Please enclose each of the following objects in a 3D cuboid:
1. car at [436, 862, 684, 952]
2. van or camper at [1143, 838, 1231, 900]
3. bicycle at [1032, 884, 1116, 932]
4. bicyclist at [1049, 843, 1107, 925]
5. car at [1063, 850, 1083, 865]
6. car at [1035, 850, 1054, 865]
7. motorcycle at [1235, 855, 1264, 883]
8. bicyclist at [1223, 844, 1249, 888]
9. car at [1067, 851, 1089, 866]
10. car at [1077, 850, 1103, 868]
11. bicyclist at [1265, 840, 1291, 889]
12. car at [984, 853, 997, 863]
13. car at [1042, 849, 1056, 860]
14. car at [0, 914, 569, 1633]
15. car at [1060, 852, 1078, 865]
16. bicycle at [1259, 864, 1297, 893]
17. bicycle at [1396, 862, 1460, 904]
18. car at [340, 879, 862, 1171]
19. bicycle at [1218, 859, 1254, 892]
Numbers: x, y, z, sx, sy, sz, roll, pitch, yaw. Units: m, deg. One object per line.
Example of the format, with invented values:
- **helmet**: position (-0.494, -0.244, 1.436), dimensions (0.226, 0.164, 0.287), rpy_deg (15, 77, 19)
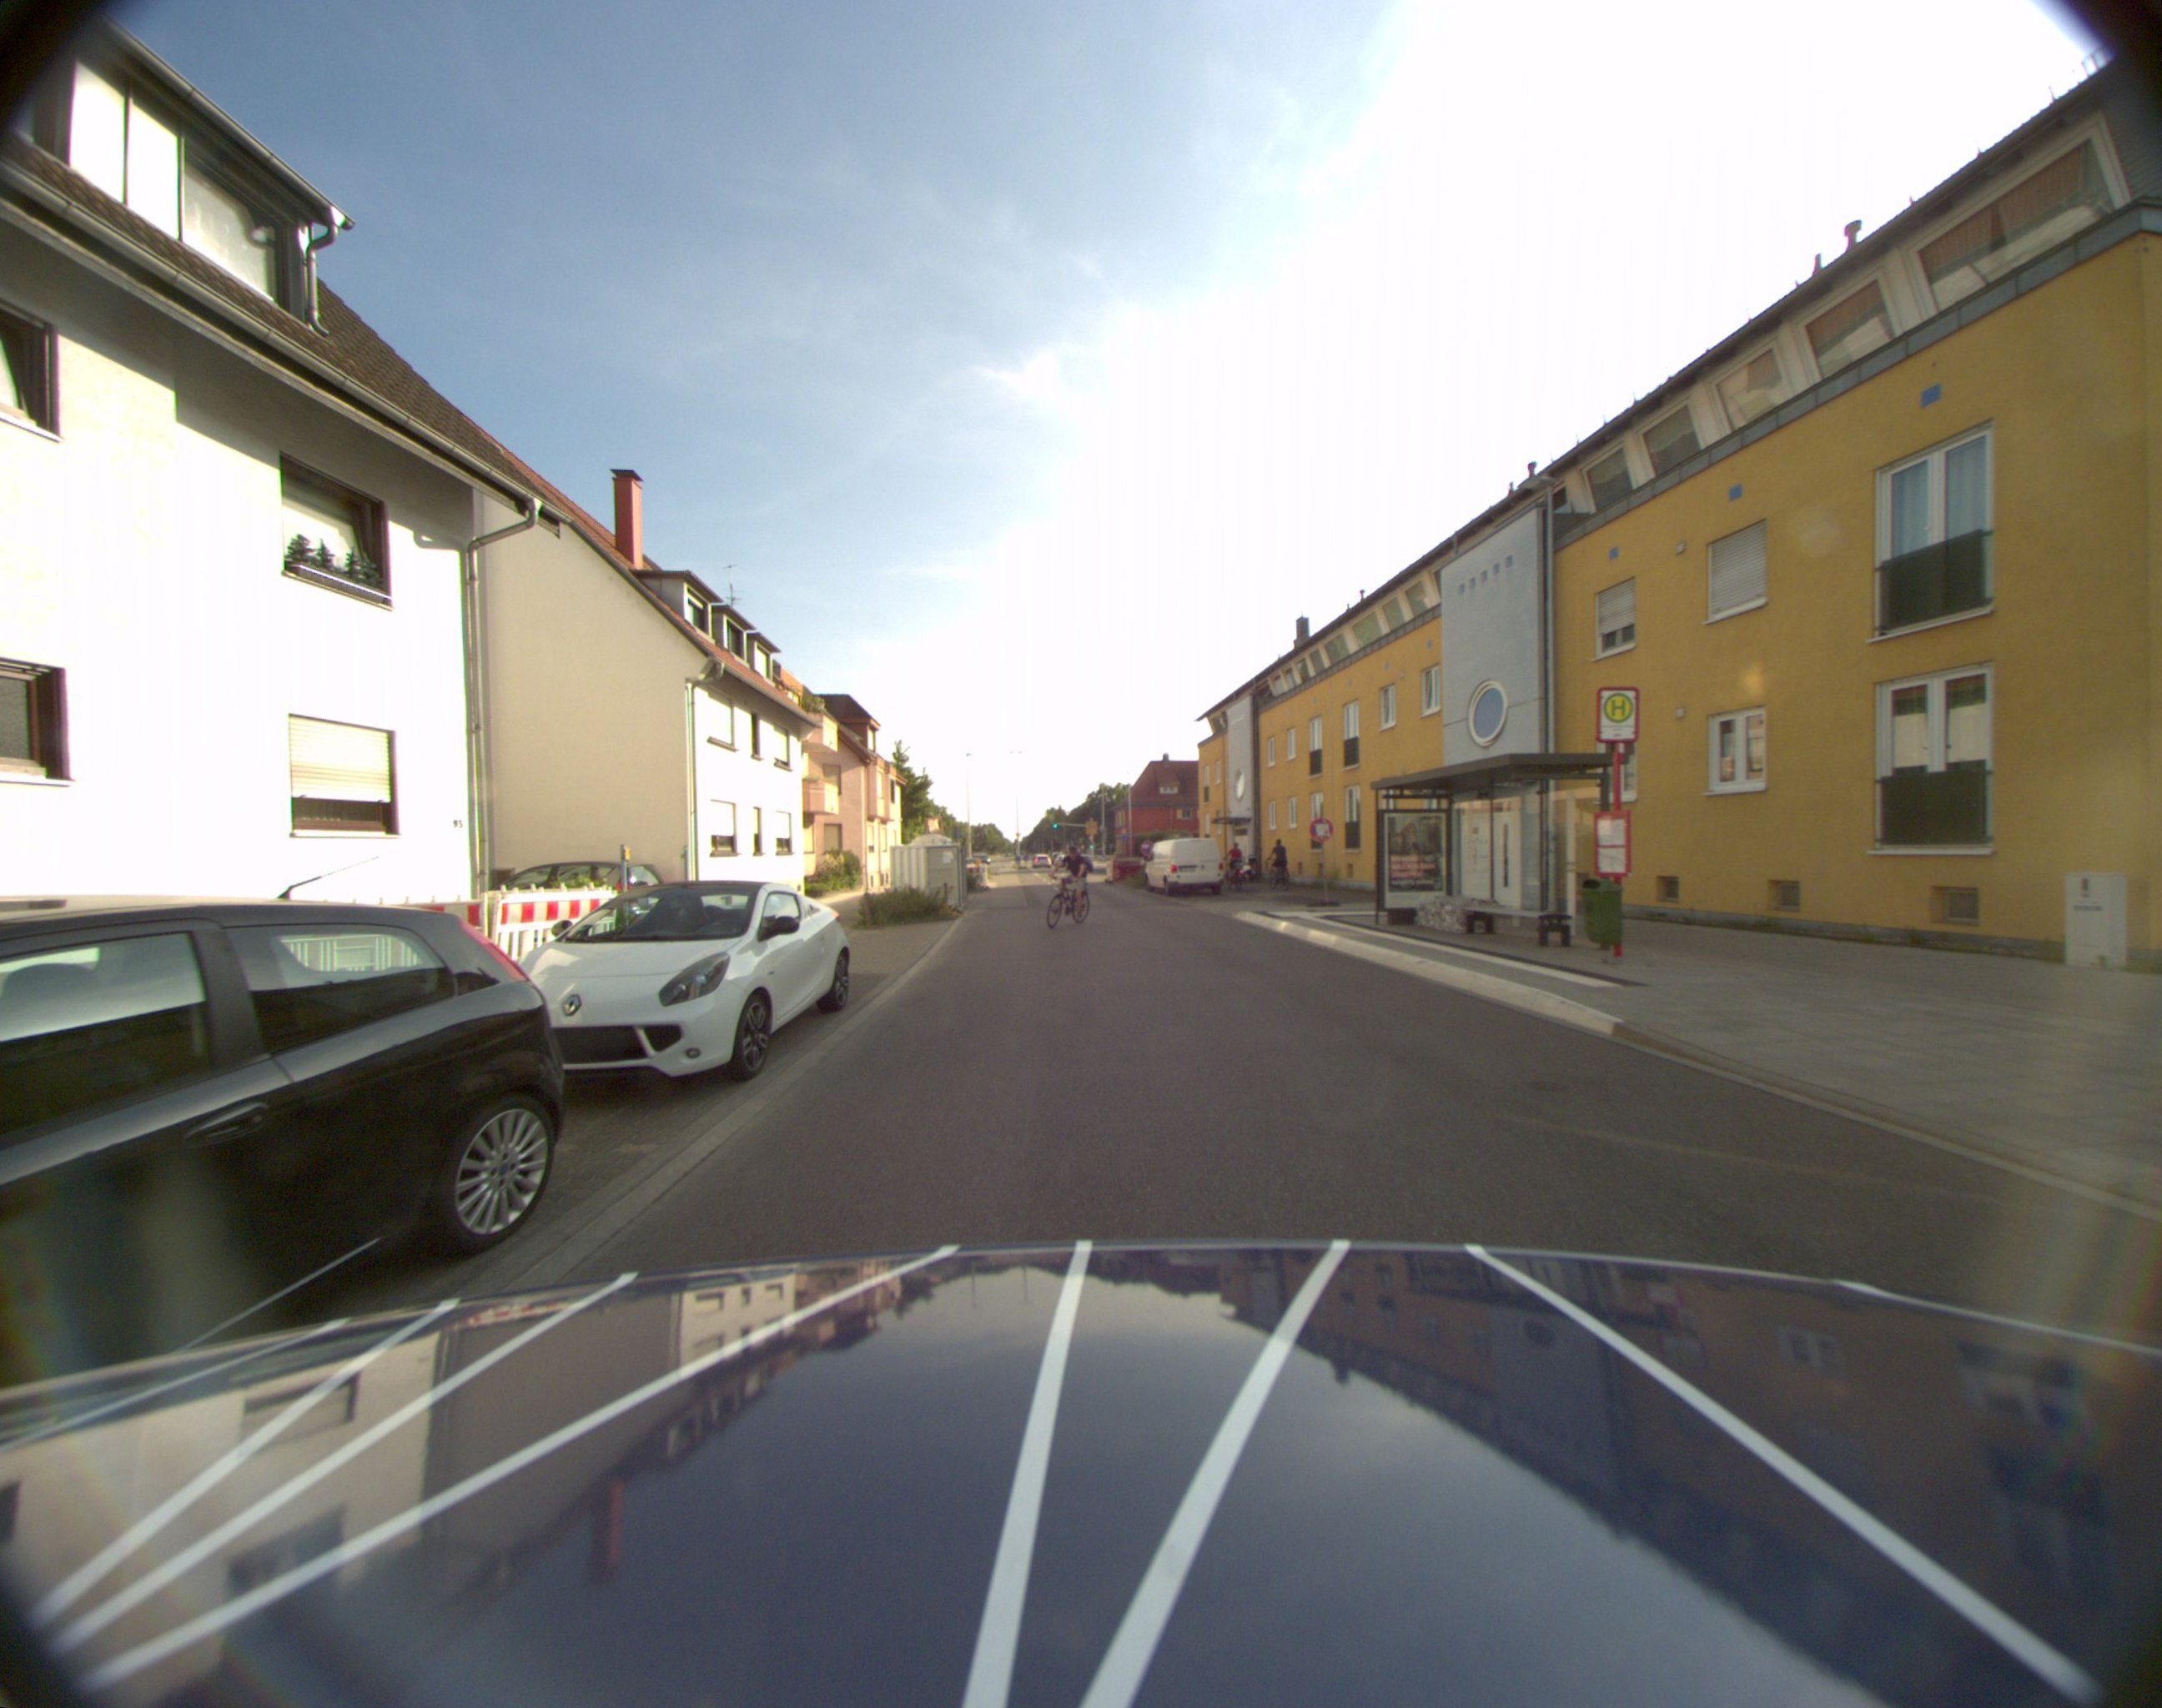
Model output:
- **car**: position (-10.522, 1.033, 15.591), dimensions (3.751, 1.557, 1.794), rpy_deg (-2, 1, -2)
- **van or camper**: position (3.707, 0.469, 27.530), dimensions (1.999, 1.992, 4.918), rpy_deg (-2, 1, -6)
- **bicycle**: position (-0.120, 1.117, 16.228), dimensions (0.679, 0.849, 2.031), rpy_deg (-2, 1, 36)
- **bicyclist**: position (-0.053, 0.623, 16.262), dimensions (0.843, 1.680, 0.879), rpy_deg (-1, 1, 36)
- **car**: position (-0.921, 0.359, 82.900), dimensions (1.795, 1.434, 3.998), rpy_deg (-2, 1, -5)
- **car**: position (-4.102, 0.381, 84.885), dimensions (1.982, 1.521, 3.998), rpy_deg (-1, 1, -5)
- **motorcycle**: position (7.345, 0.644, 33.181), dimensions (0.584, 1.176, 1.876), rpy_deg (-2, 1, -8)
- **bicyclist**: position (5.748, 0.430, 28.192), dimensions (0.672, 1.594, 0.727), rpy_deg (-2, 1, -10)
- **car**: position (-0.316, 0.411, 74.445), dimensions (1.795, 1.434, 3.998), rpy_deg (-2, 1, -5)
- **car**: position (0.701, 0.415, 63.856), dimensions (1.795, 1.434, 3.998), rpy_deg (-1, 1, -5)
- **bicyclist**: position (6.869, 0.363, 26.551), dimensions (0.676, 1.659, 0.665), rpy_deg (-1, 1, -5)
- **car**: position (-13.551, 0.607, 114.163), dimensions (1.795, 1.433, 3.998), rpy_deg (1, 0, -5)
- **car**: position (-4.463, 0.109, 105.027), dimensions (1.795, 1.434, 3.998), rpy_deg (-2, 1, -5)
- **car**: position (-3.178, 1.002, 1.495), dimensions (1.611, 1.413, 3.919), rpy_deg (0, 1, 1)
- **car**: position (-1.441, 0.490, 91.147), dimensions (1.795, 1.434, 3.998), rpy_deg (-2, 1, -5)
- **bicycle**: position (6.878, 0.844, 26.631), dimensions (0.692, 0.907, 1.873), rpy_deg (-2, 0, -4)
- **bicycle**: position (9.101, 0.744, 20.016), dimensions (0.718, 0.991, 1.906), rpy_deg (-2, 1, -3)
- **car**: position (-3.220, 1.001, 6.306), dimensions (1.720, 1.390, 4.332), rpy_deg (0, 1, -3)
- **bicycle**: position (5.749, 0.763, 28.283), dimensions (0.613, 1.154, 2.021), rpy_deg (-2, 1, -10)
